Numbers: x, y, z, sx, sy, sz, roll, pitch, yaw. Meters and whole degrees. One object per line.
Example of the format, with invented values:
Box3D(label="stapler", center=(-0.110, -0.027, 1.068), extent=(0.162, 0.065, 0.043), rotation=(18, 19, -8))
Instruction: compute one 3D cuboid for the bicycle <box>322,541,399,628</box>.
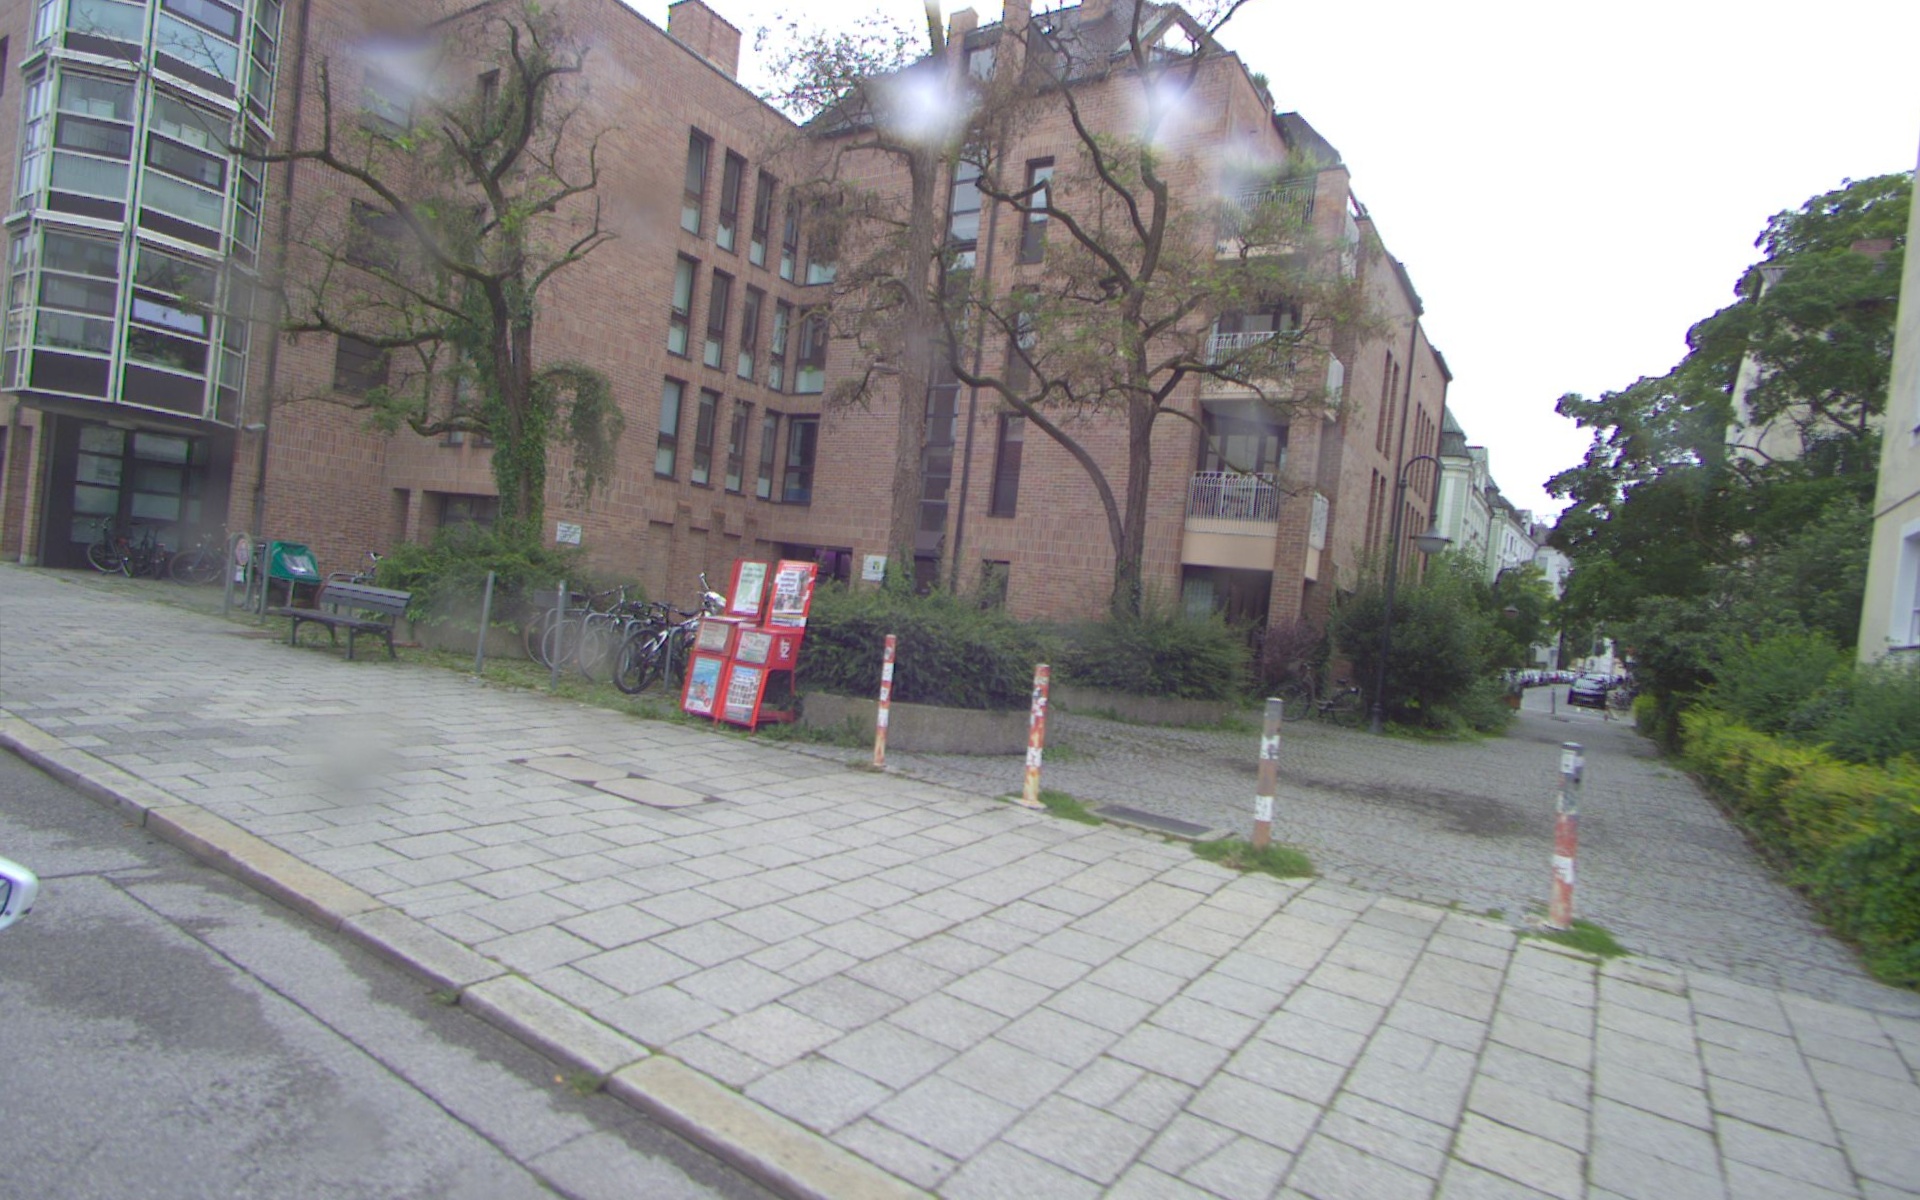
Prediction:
Box3D(label="bicycle", center=(-8.982, -0.223, 15.105), extent=(0.414, 1.187, 1.359), rotation=(8, -1, -10))

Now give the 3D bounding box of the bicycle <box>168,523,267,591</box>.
Box3D(label="bicycle", center=(-15.104, -0.869, 20.493), extent=(0.377, 1.160, 1.476), rotation=(8, -1, 40))

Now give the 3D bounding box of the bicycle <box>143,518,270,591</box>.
Box3D(label="bicycle", center=(-14.915, -0.891, 19.957), extent=(0.481, 1.160, 1.847), rotation=(8, -1, 40))

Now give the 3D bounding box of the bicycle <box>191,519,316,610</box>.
Box3D(label="bicycle", center=(-11.238, -0.580, 15.969), extent=(2.372, 1.263, 0.535), rotation=(5, -1, 29))

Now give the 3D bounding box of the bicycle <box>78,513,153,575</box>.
Box3D(label="bicycle", center=(-16.849, -1.127, 20.053), extent=(1.963, 1.072, 0.487), rotation=(6, -1, 32))

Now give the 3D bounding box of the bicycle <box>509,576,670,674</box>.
Box3D(label="bicycle", center=(-4.382, 0.321, 12.010), extent=(0.537, 0.977, 1.702), rotation=(8, -1, 35))

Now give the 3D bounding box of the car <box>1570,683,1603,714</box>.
Box3D(label="car", center=(36.161, 5.701, 58.116), extent=(1.454, 1.482, 3.602), rotation=(8, -1, 32))

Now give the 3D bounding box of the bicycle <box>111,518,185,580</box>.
Box3D(label="bicycle", center=(-16.576, -1.050, 20.522), extent=(1.963, 1.072, 0.487), rotation=(7, -1, 32))

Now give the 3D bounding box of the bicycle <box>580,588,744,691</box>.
Box3D(label="bicycle", center=(-3.299, 0.471, 11.282), extent=(0.537, 0.977, 1.702), rotation=(8, -1, 35))

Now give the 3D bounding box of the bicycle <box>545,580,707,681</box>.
Box3D(label="bicycle", center=(-3.826, 0.382, 11.654), extent=(0.537, 0.977, 1.702), rotation=(8, -1, 35))
